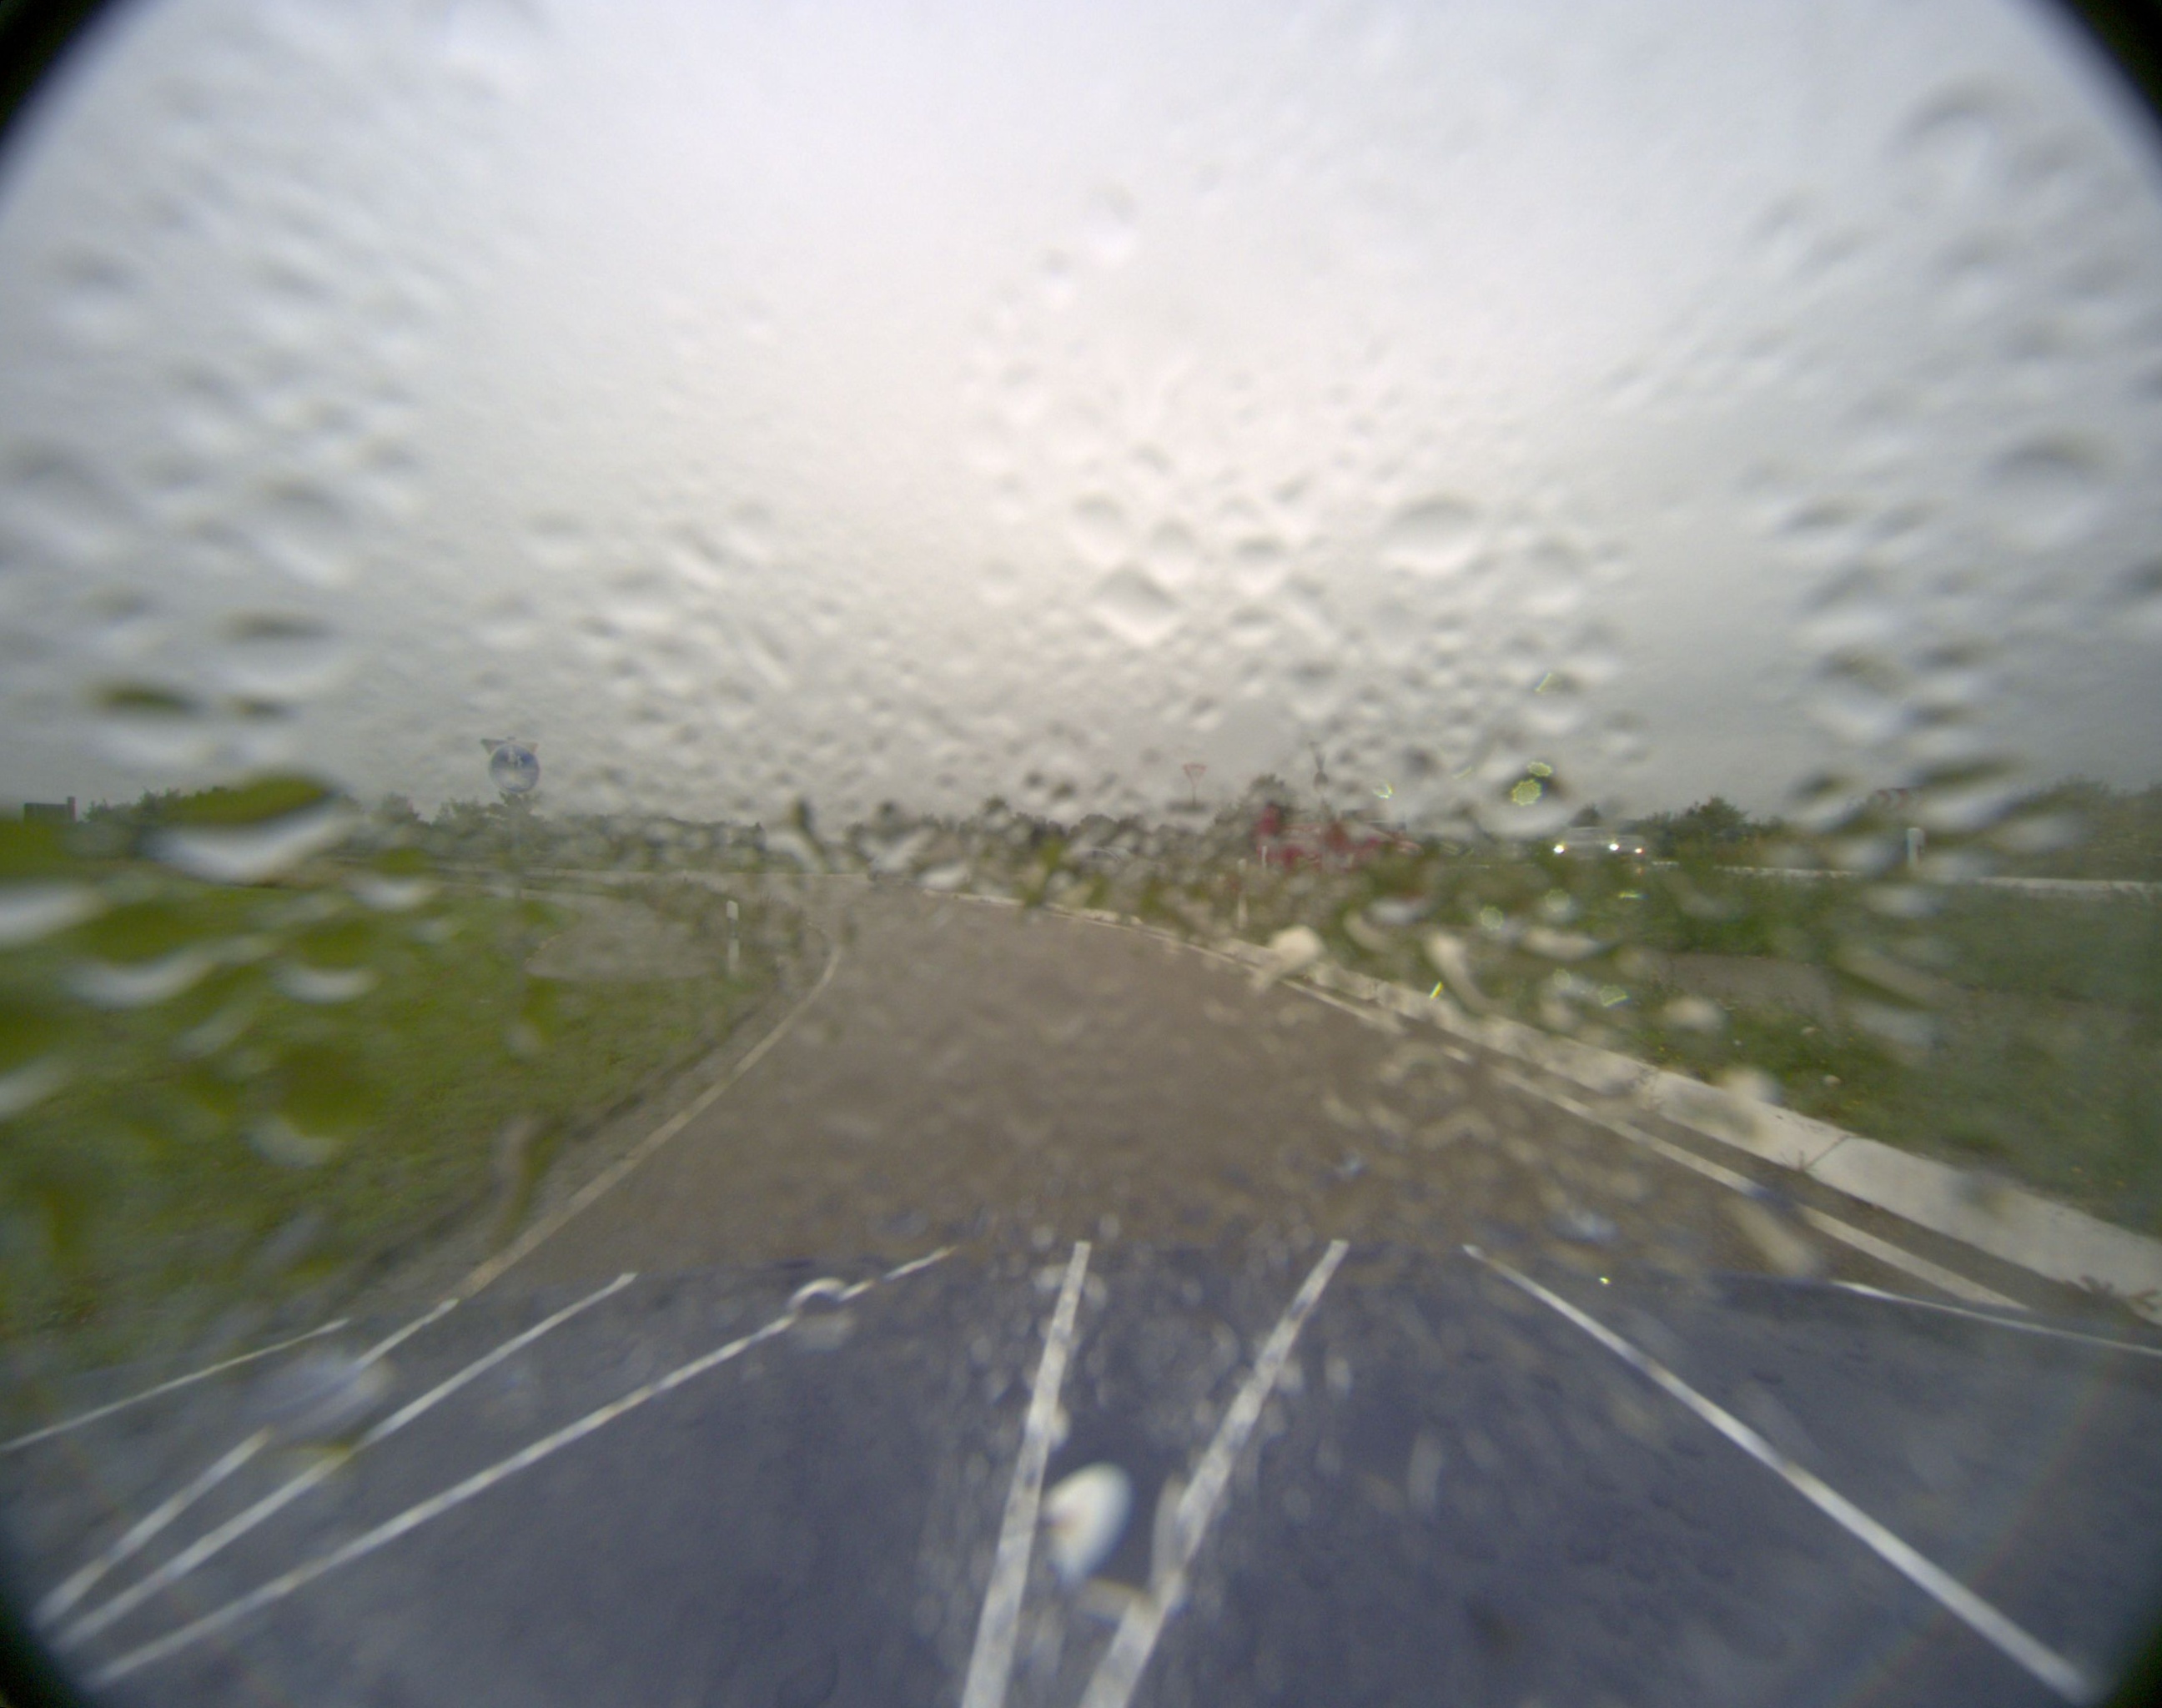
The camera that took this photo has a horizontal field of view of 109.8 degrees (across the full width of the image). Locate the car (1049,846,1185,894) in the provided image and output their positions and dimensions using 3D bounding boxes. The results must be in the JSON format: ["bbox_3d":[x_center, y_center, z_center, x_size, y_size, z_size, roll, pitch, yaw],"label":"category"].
[{"bbox_3d":[1.289,0.549,27.680,4.512,1.593,2.004,0,0,32],"label":"car"}]

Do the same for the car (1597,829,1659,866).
[{"bbox_3d":[25.732,-0.338,35.694,1.821,1.581,4.008,-3,0,43],"label":"car"}]

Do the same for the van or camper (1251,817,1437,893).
[{"bbox_3d":[7.813,0.003,22.857,4.833,2.003,2.003,0,3,42],"label":"van or camper"}]

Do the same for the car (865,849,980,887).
[{"bbox_3d":[-6.841,0.577,32.772,4.649,1.473,2.003,0,3,30],"label":"car"}]

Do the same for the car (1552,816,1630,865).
[{"bbox_3d":[18.122,-0.536,27.179,1.995,1.565,4.507,-1,2,30],"label":"car"}]
